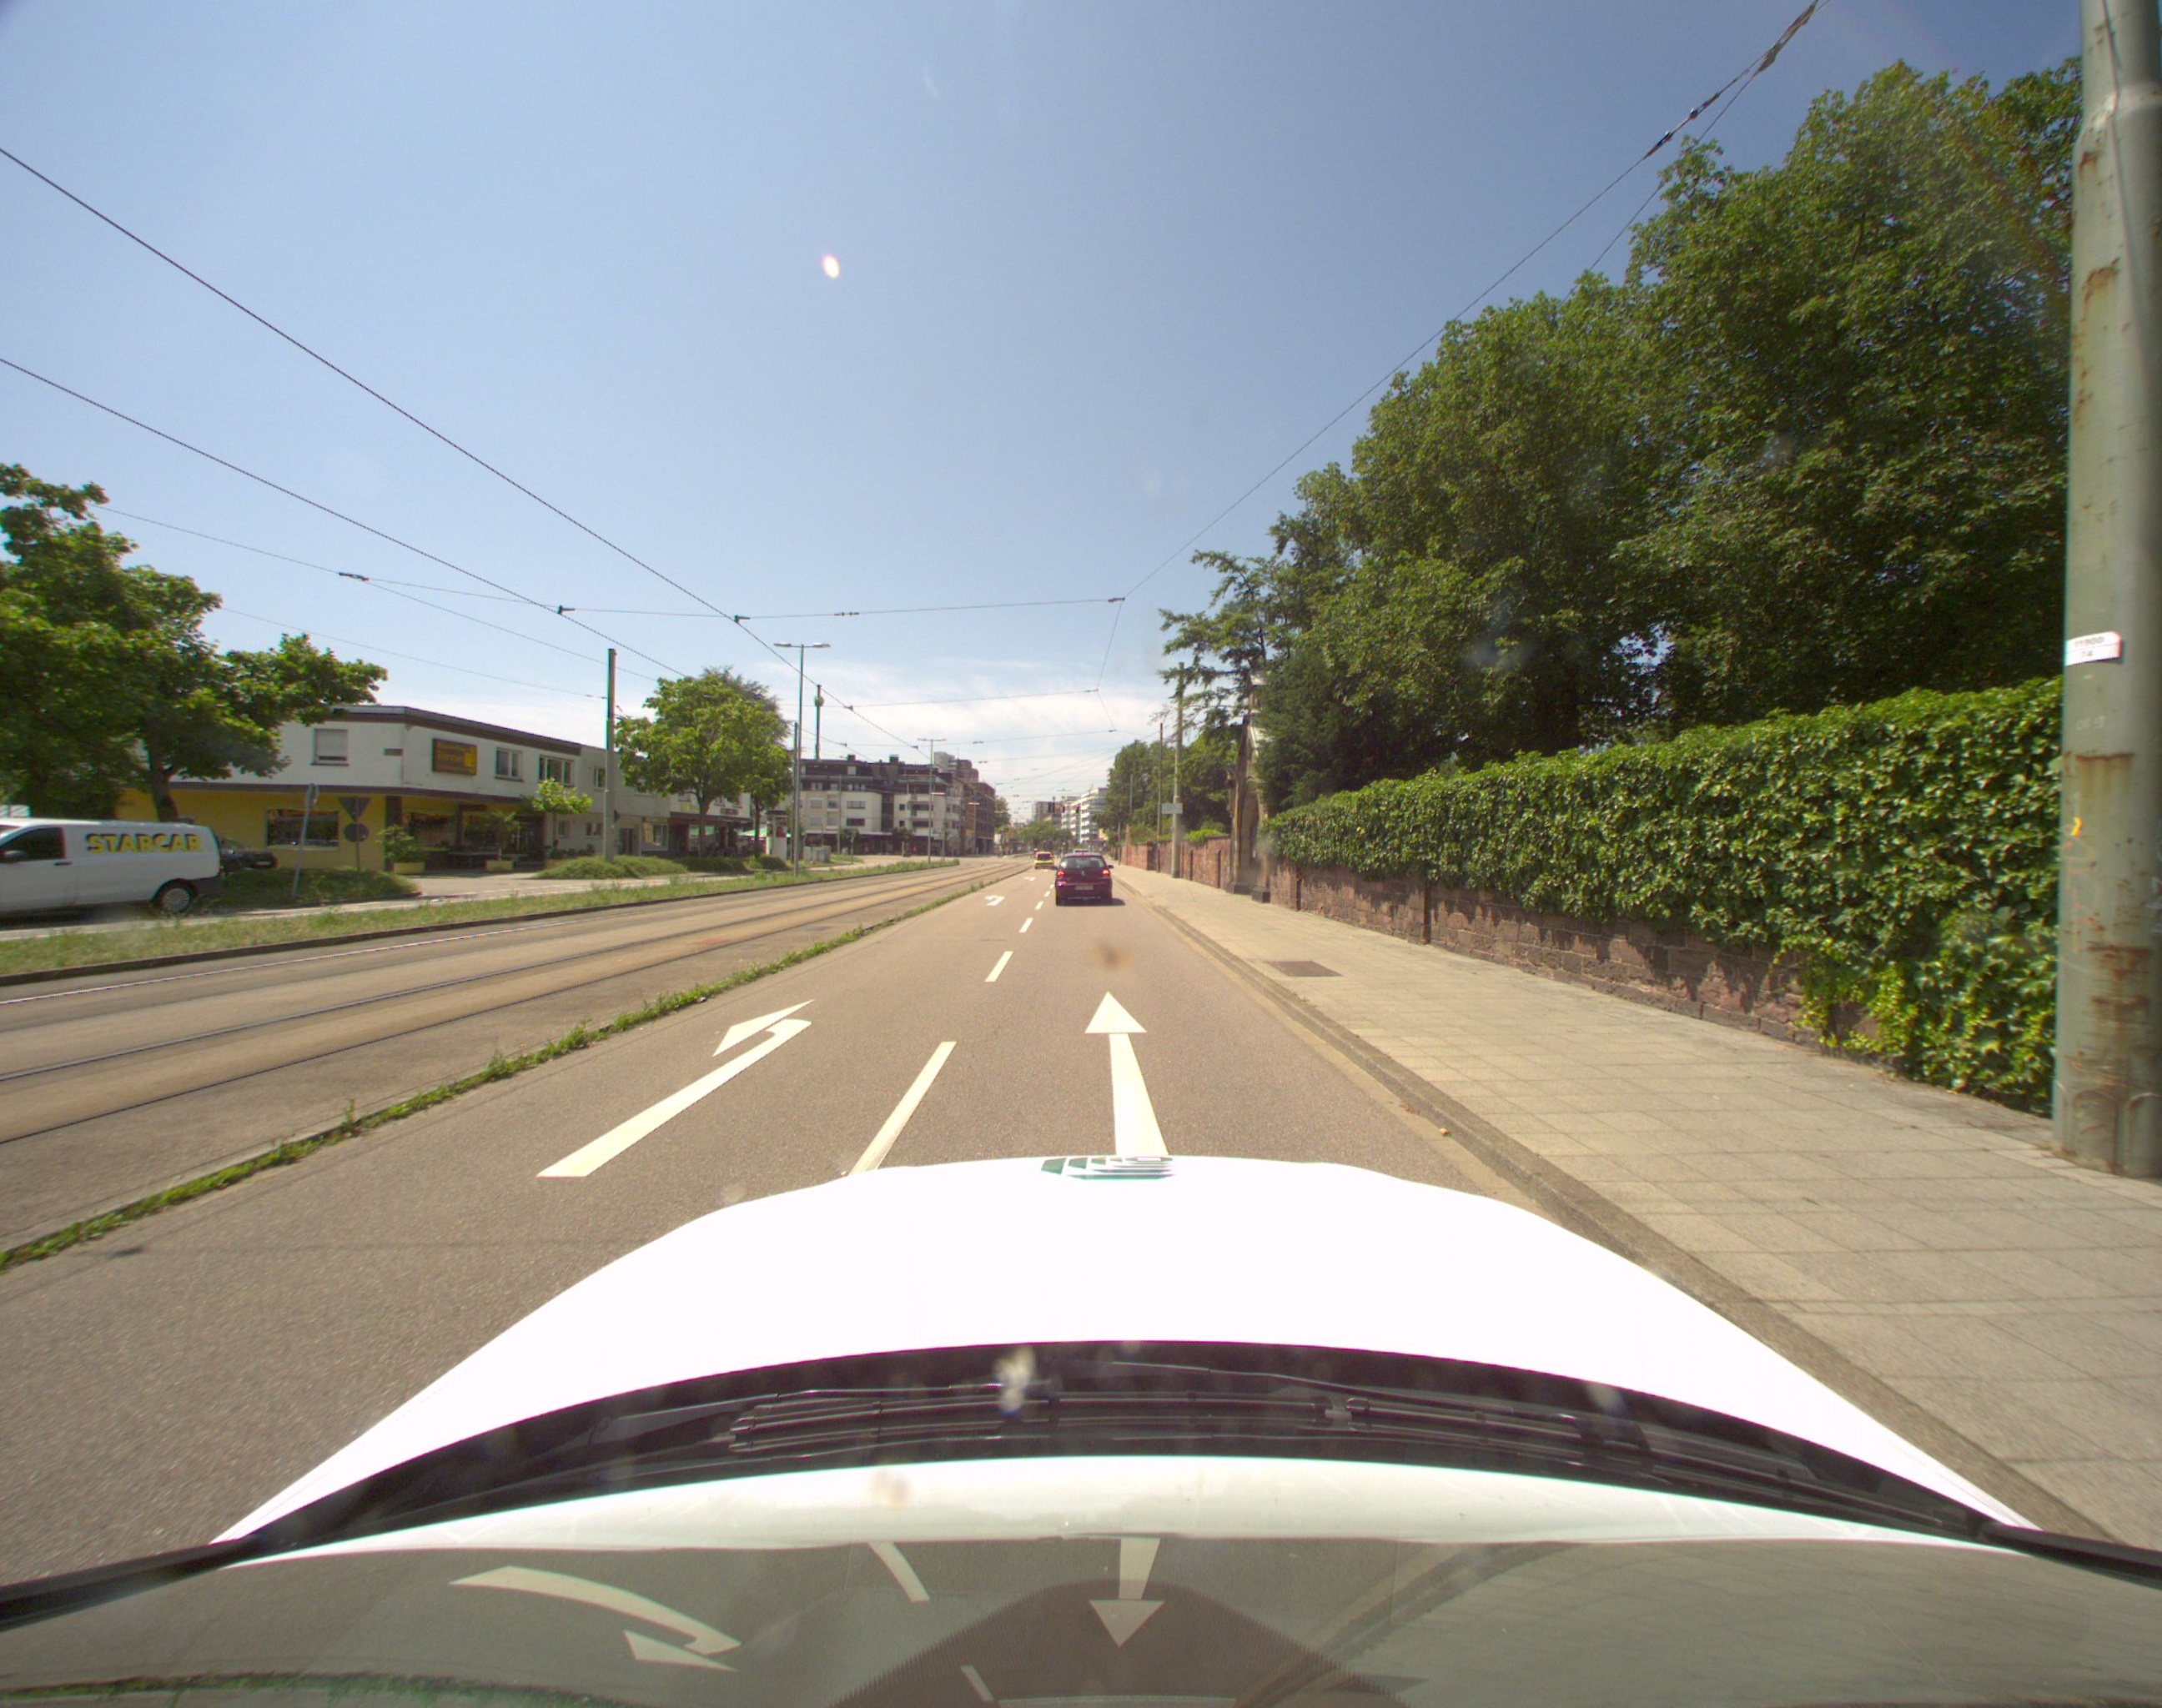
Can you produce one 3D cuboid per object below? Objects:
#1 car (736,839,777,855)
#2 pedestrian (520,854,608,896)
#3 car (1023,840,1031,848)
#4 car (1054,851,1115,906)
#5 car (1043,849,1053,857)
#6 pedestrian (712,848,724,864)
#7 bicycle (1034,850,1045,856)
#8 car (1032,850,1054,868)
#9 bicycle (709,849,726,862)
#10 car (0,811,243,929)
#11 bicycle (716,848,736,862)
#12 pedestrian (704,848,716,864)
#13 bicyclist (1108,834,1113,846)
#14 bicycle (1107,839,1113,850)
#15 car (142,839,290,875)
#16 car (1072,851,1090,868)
[{"bbox_3d":[-47.253,-0.993,118.634,5.051,2.341,2.243,0,-1,-2],"label":"car"},{"bbox_3d":[-26.424,1.048,41.807,1.988,2.014,3.998,0,-1,-1],"label":"pedestrian"},{"bbox_3d":[-14.470,-2.770,219.368,1.729,2.013,4.000,1,0,0],"label":"car"},{"bbox_3d":[0.077,0.651,24.160,1.605,1.463,4.084,-1,0,-1],"label":"car"},{"bbox_3d":[-7.377,-0.203,181.953,1.932,1.641,3.998,0,-1,-1],"label":"car"},{"bbox_3d":[-29.305,0.133,65.784,0.587,1.268,0.842,0,-1,0],"label":"pedestrian"},{"bbox_3d":[-6.903,-0.171,134.506,1.862,1.008,0.578,0,-1,-5],"label":"bicycle"},{"bbox_3d":[-3.230,0.394,69.946,1.718,1.445,3.291,-1,1,-1],"label":"car"},{"bbox_3d":[-27.560,0.089,61.730,0.537,0.979,1.758,0,-1,0],"label":"bicycle"},{"bbox_3d":[-19.577,0.242,15.327,1.869,2.011,5.344,4,0,1],"label":"car"},{"bbox_3d":[-26.301,0.073,60.398,0.608,0.979,2.029,0,-1,0],"label":"bicycle"},{"bbox_3d":[-29.951,0.146,65.735,0.587,1.268,0.842,0,-1,0],"label":"pedestrian"},{"bbox_3d":[4.306,-2.061,118.839,0.719,1.818,0.888,0,-1,0],"label":"bicyclist"},{"bbox_3d":[4.261,-1.448,119.440,0.832,1.525,3.999,0,-1,0],"label":"bicycle"},{"bbox_3d":[-33.678,0.088,31.779,3.972,1.297,1.683,1,1,1],"label":"car"},{"bbox_3d":[-0.008,0.472,72.263,1.568,1.415,3.719,-1,0,-1],"label":"car"}]
